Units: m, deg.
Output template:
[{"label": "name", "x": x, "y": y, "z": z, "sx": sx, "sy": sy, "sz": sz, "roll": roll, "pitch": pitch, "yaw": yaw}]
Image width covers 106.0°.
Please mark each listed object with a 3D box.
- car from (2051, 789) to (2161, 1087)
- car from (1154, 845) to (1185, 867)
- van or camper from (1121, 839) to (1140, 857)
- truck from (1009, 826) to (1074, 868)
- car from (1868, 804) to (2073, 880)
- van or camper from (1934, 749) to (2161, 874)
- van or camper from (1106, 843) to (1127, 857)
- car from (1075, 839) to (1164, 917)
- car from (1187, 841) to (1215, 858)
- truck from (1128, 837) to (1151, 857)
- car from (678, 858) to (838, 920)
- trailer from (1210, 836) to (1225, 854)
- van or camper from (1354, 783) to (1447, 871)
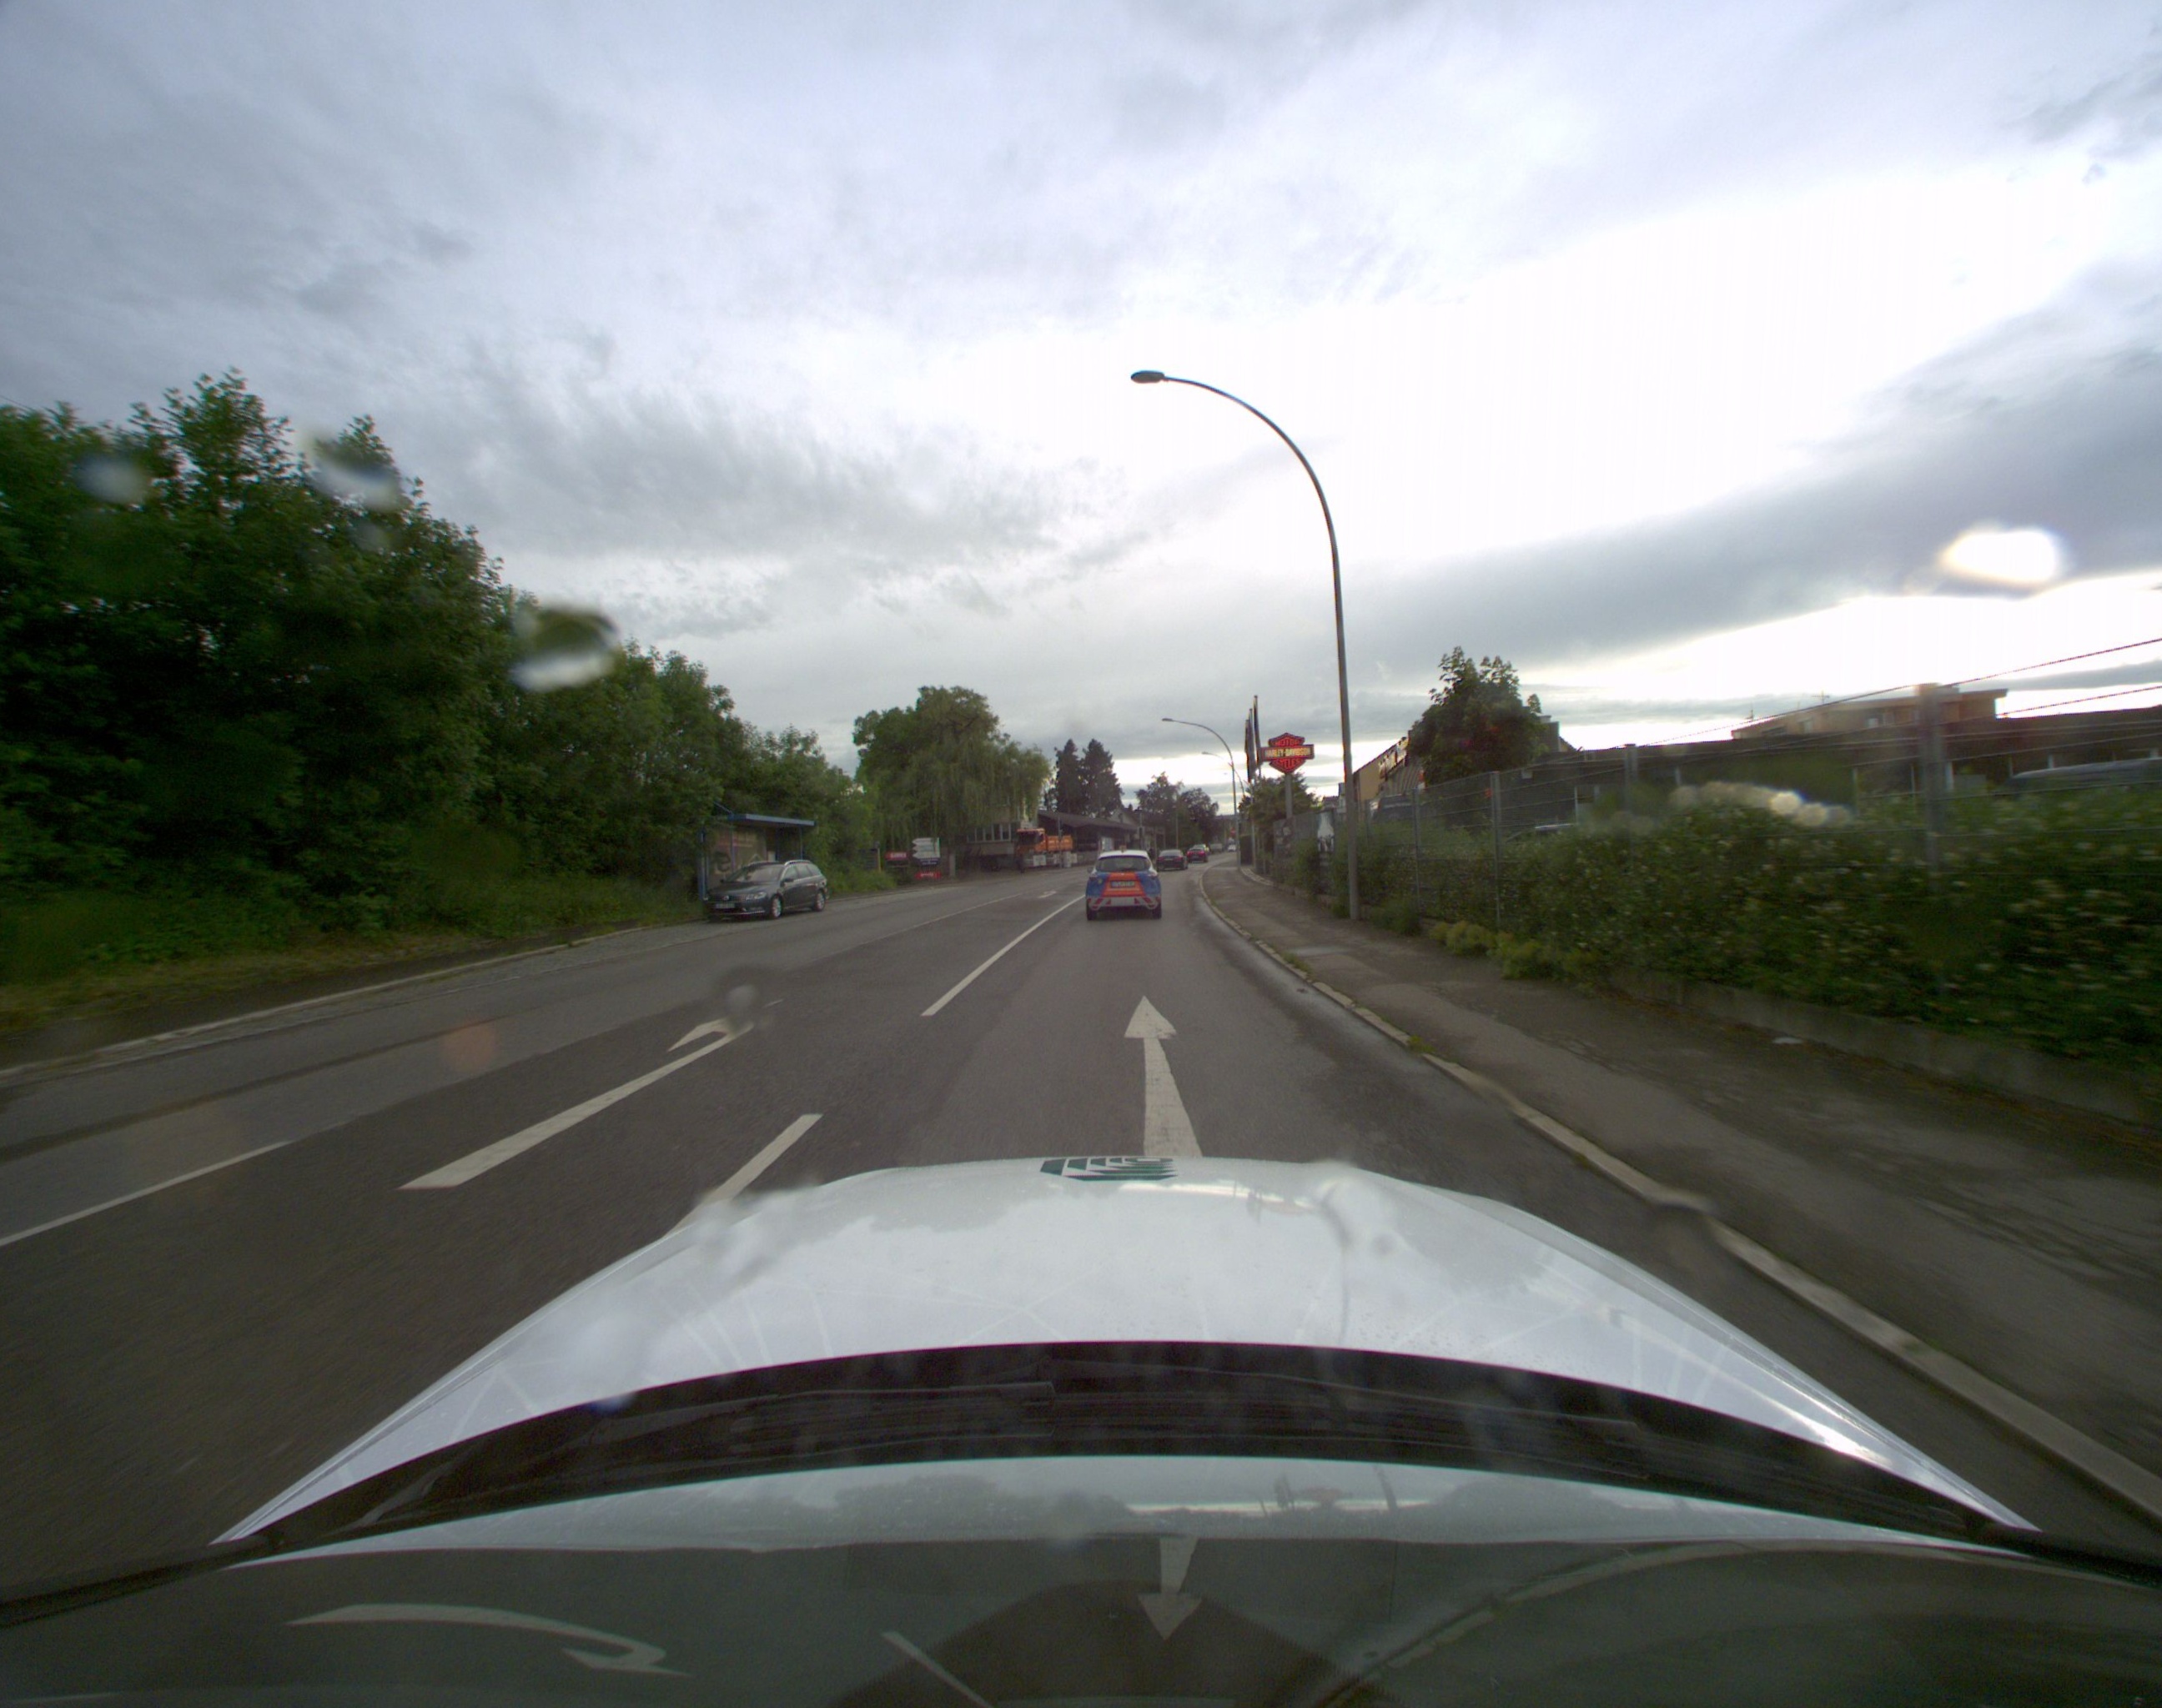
[{"label": "car", "x": 9.226, "y": 0.489, "z": 5.091, "sx": 3.967, "sy": 2.013, "sz": 1.714, "roll": -2, "pitch": 0, "yaw": 6}, {"label": "car", "x": 5.878, "y": 0.178, "z": 54.423, "sx": 1.714, "sy": 1.376, "sz": 3.934, "roll": 0, "pitch": -1, "yaw": 1}, {"label": "van or camper", "x": 7.281, "y": -0.866, "z": 118.866, "sx": 1.846, "sy": 2.437, "sz": 5.253, "roll": 0, "pitch": -1, "yaw": 14}, {"label": "truck", "x": -3.312, "y": -0.472, "z": 71.548, "sx": 2.676, "sy": 3.412, "sz": 9.113, "roll": -1, "pitch": -1, "yaw": 18}, {"label": "car", "x": 20.787, "y": -0.281, "z": 19.244, "sx": 1.626, "sy": 1.571, "sz": 3.409, "roll": -3, "pitch": 0, "yaw": 14}, {"label": "van or camper", "x": 23.965, "y": -0.984, "z": 19.450, "sx": 2.315, "sy": 2.557, "sz": 5.765, "roll": -3, "pitch": 0, "yaw": 16}, {"label": "van or camper", "x": 4.928, "y": -0.512, "z": 112.333, "sx": 1.980, "sy": 1.909, "sz": 4.488, "roll": 0, "pitch": 0, "yaw": 13}, {"label": "car", "x": 0.930, "y": 0.514, "z": 19.817, "sx": 1.881, "sy": 1.632, "sz": 4.003, "roll": -2, "pitch": 0, "yaw": 2}, {"label": "car", "x": 11.192, "y": -0.389, "z": 75.671, "sx": 1.978, "sy": 1.420, "sz": 4.016, "roll": -1, "pitch": -1, "yaw": 16}, {"label": "truck", "x": 9.005, "y": -1.076, "z": 124.354, "sx": 2.377, "sy": 2.927, "sz": 5.981, "roll": -1, "pitch": 0, "yaw": 15}, {"label": "car", "x": -8.440, "y": 0.896, "z": 21.872, "sx": 1.983, "sy": 1.474, "sz": 4.708, "roll": 0, "pitch": -1, "yaw": 6}, {"label": "trailer", "x": 26.486, "y": -1.807, "z": 158.130, "sx": 2.207, "sy": 2.010, "sz": 4.456, "roll": -19, "pitch": 9, "yaw": 14}, {"label": "van or camper", "x": 10.926, "y": -0.874, "z": 28.384, "sx": 2.027, "sy": 2.593, "sz": 6.614, "roll": -3, "pitch": 0, "yaw": 14}]
